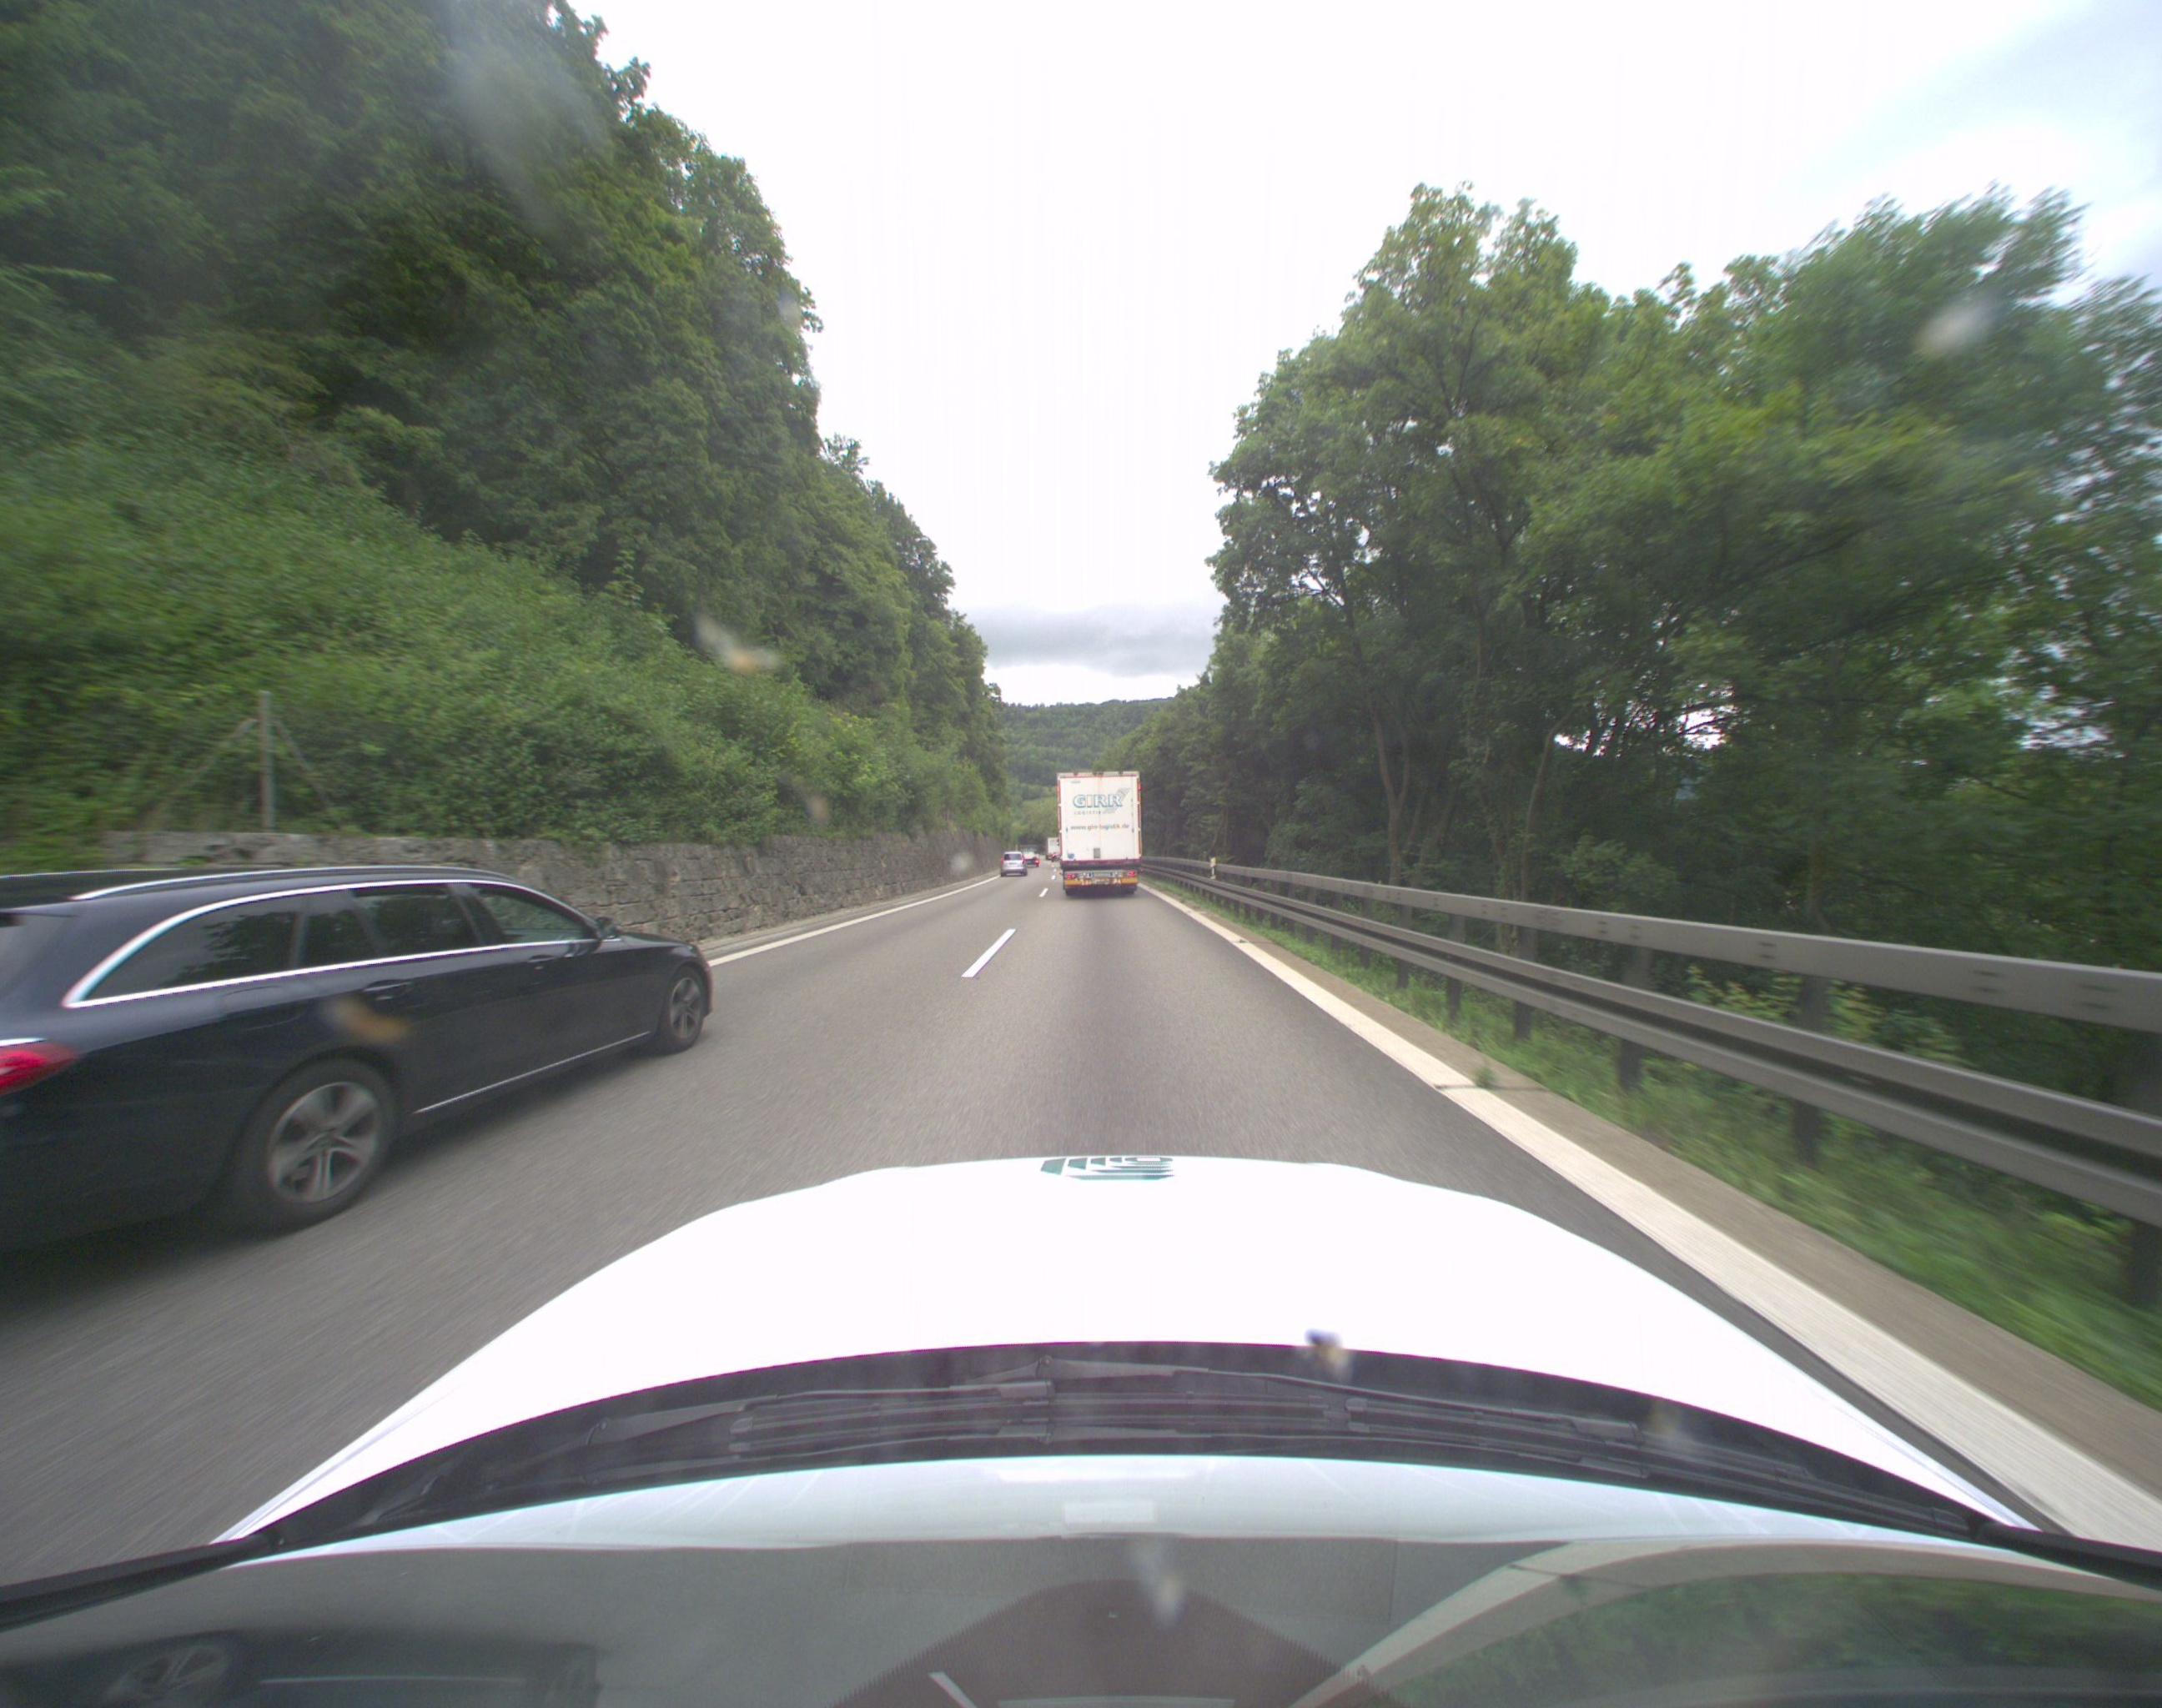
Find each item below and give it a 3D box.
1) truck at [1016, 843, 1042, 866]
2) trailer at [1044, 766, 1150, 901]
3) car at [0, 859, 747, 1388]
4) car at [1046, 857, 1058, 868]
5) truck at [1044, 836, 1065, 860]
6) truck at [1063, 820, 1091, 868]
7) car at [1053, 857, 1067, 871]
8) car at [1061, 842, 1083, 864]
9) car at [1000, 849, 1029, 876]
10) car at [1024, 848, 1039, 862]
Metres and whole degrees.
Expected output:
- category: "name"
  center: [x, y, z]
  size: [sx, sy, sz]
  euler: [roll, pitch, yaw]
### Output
- category: "truck"
  center: [-5.255, 0.026, 82.771]
  size: [2.343, 2.274, 6.845]
  euler: [1, 0, -1]
- category: "trailer"
  center: [0.494, -0.661, 29.673]
  size: [3.123, 4.042, 9.437]
  euler: [2, 0, 0]
- category: "car"
  center: [-3.939, 0.812, 4.655]
  size: [1.754, 1.463, 5.125]
  euler: [-1, 0, 2]
- category: "car"
  center: [-5.279, 1.540, 149.920]
  size: [1.991, 2.014, 3.992]
  euler: [1, 0, -5]
- category: "truck"
  center: [-4.632, -0.982, 141.186]
  size: [3.065, 3.877, 8.441]
  euler: [1, 0, -6]
- category: "truck"
  center: [-0.370, -0.783, 69.227]
  size: [2.227, 3.804, 6.820]
  euler: [1, 0, -1]
- category: "car"
  center: [-3.084, 1.414, 117.299]
  size: [1.988, 2.014, 3.996]
  euler: [1, 0, -2]
- category: "car"
  center: [-0.900, -0.085, 77.599]
  size: [1.988, 2.014, 4.330]
  euler: [1, 0, -2]
- category: "car"
  center: [-4.357, 0.544, 53.945]
  size: [1.629, 1.726, 4.342]
  euler: [0, 0, -2]
- category: "car"
  center: [-6.982, 0.177, 115.114]
  size: [2.013, 1.914, 5.559]
  euler: [1, 0, -2]
